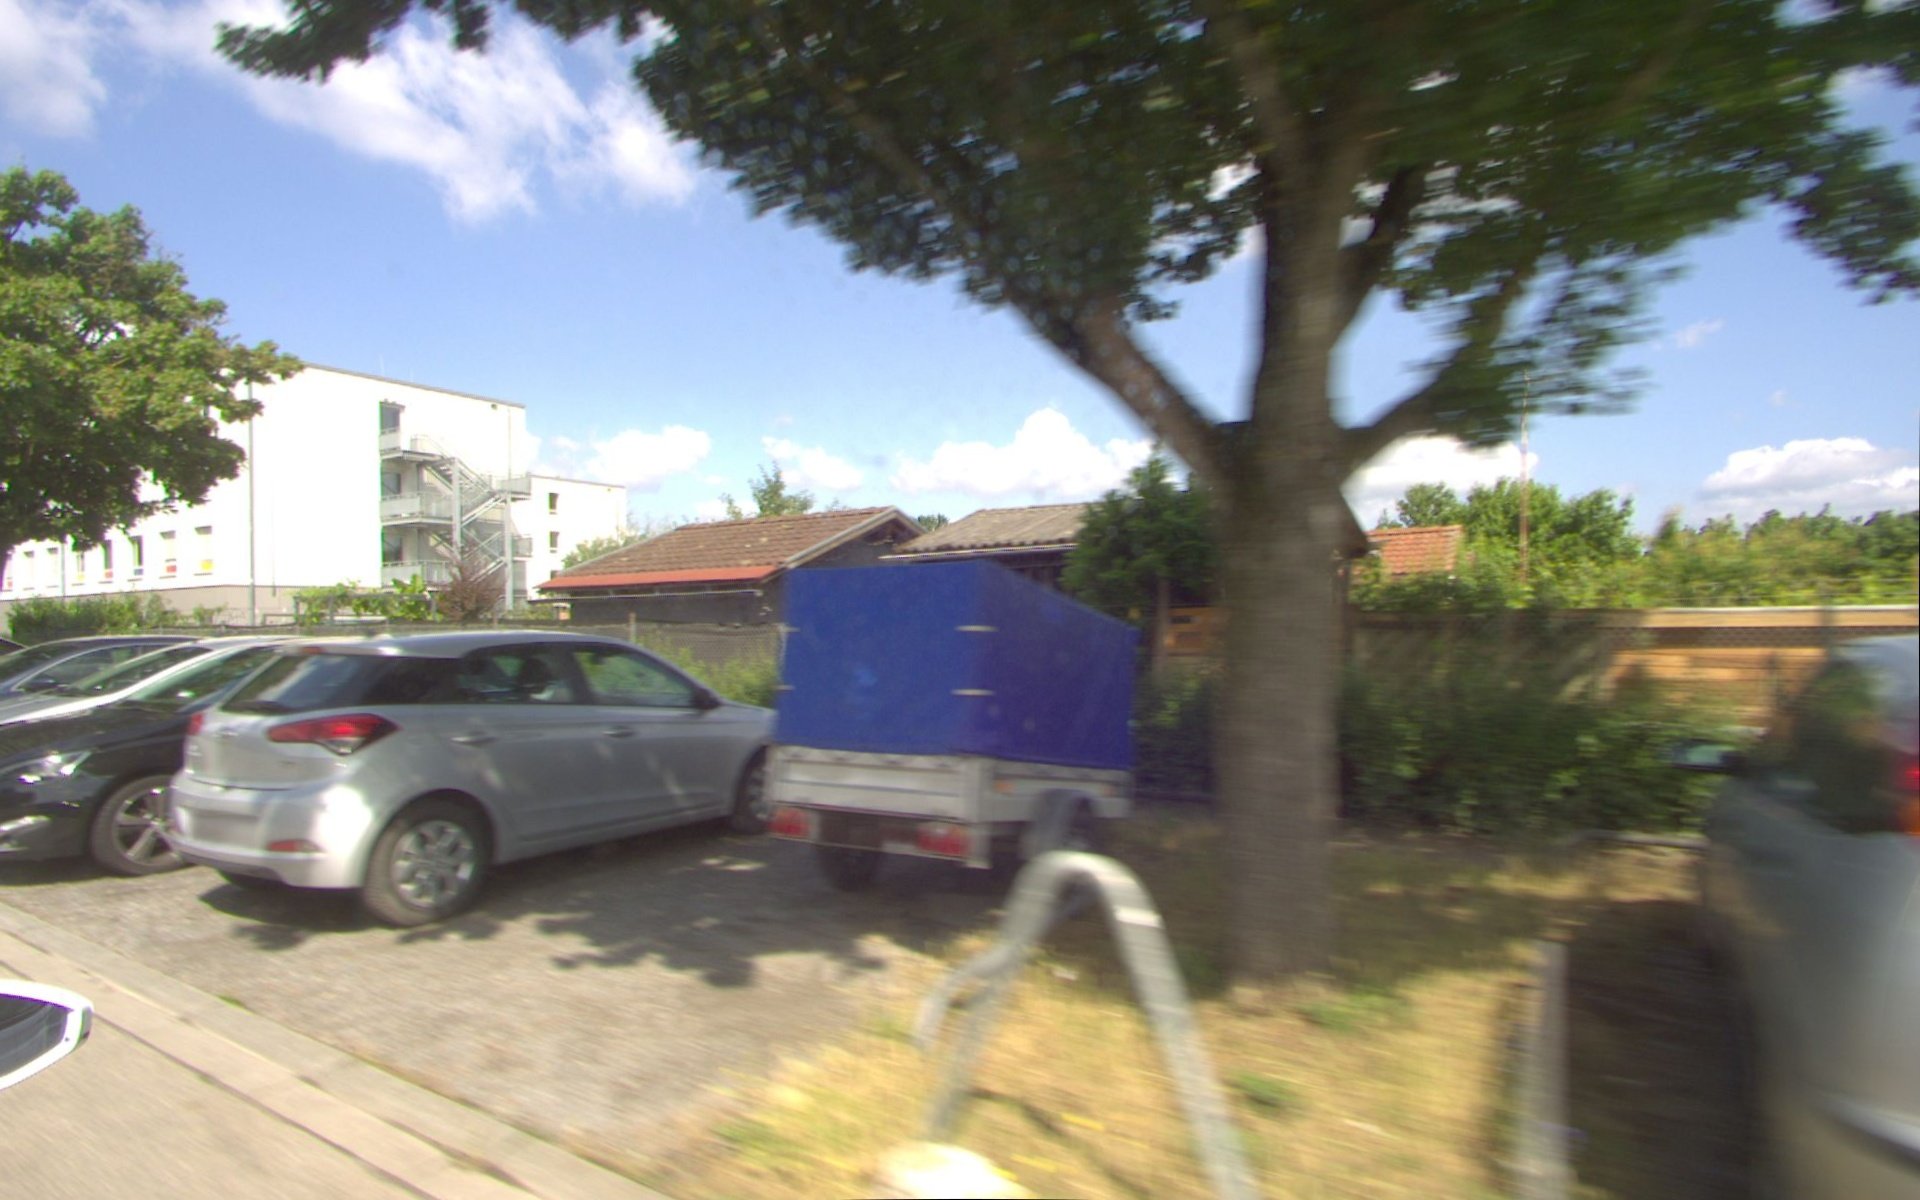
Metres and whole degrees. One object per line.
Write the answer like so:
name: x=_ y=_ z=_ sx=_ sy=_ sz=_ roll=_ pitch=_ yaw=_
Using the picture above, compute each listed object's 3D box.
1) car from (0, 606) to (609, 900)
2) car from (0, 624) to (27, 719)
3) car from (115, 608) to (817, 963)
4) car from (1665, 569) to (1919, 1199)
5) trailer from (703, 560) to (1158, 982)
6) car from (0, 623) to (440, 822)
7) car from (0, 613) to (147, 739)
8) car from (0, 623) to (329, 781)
car: x=-5.113 y=0.931 z=7.695 sx=1.971 sy=1.614 sz=4.296 roll=-1 pitch=-3 yaw=32
car: x=-17.321 y=1.196 z=15.569 sx=1.737 sy=1.552 sz=3.801 roll=-1 pitch=-1 yaw=32
car: x=-2.786 y=0.900 z=6.497 sx=1.822 sy=1.559 sz=3.721 roll=-1 pitch=-2 yaw=29
car: x=3.144 y=0.770 z=2.759 sx=1.932 sy=1.530 sz=4.054 roll=-1 pitch=-3 yaw=35
trailer: x=-0.002 y=0.750 z=5.590 sx=1.495 sy=1.742 sz=2.448 roll=0 pitch=-2 yaw=29
car: x=-7.289 y=1.007 z=9.462 sx=1.875 sy=1.511 sz=3.807 roll=-1 pitch=-2 yaw=32
car: x=-13.752 y=1.028 z=13.372 sx=1.853 sy=1.659 sz=4.144 roll=-1 pitch=-1 yaw=34
car: x=-9.583 y=1.026 z=10.779 sx=1.947 sy=1.511 sz=4.329 roll=-1 pitch=-3 yaw=32
